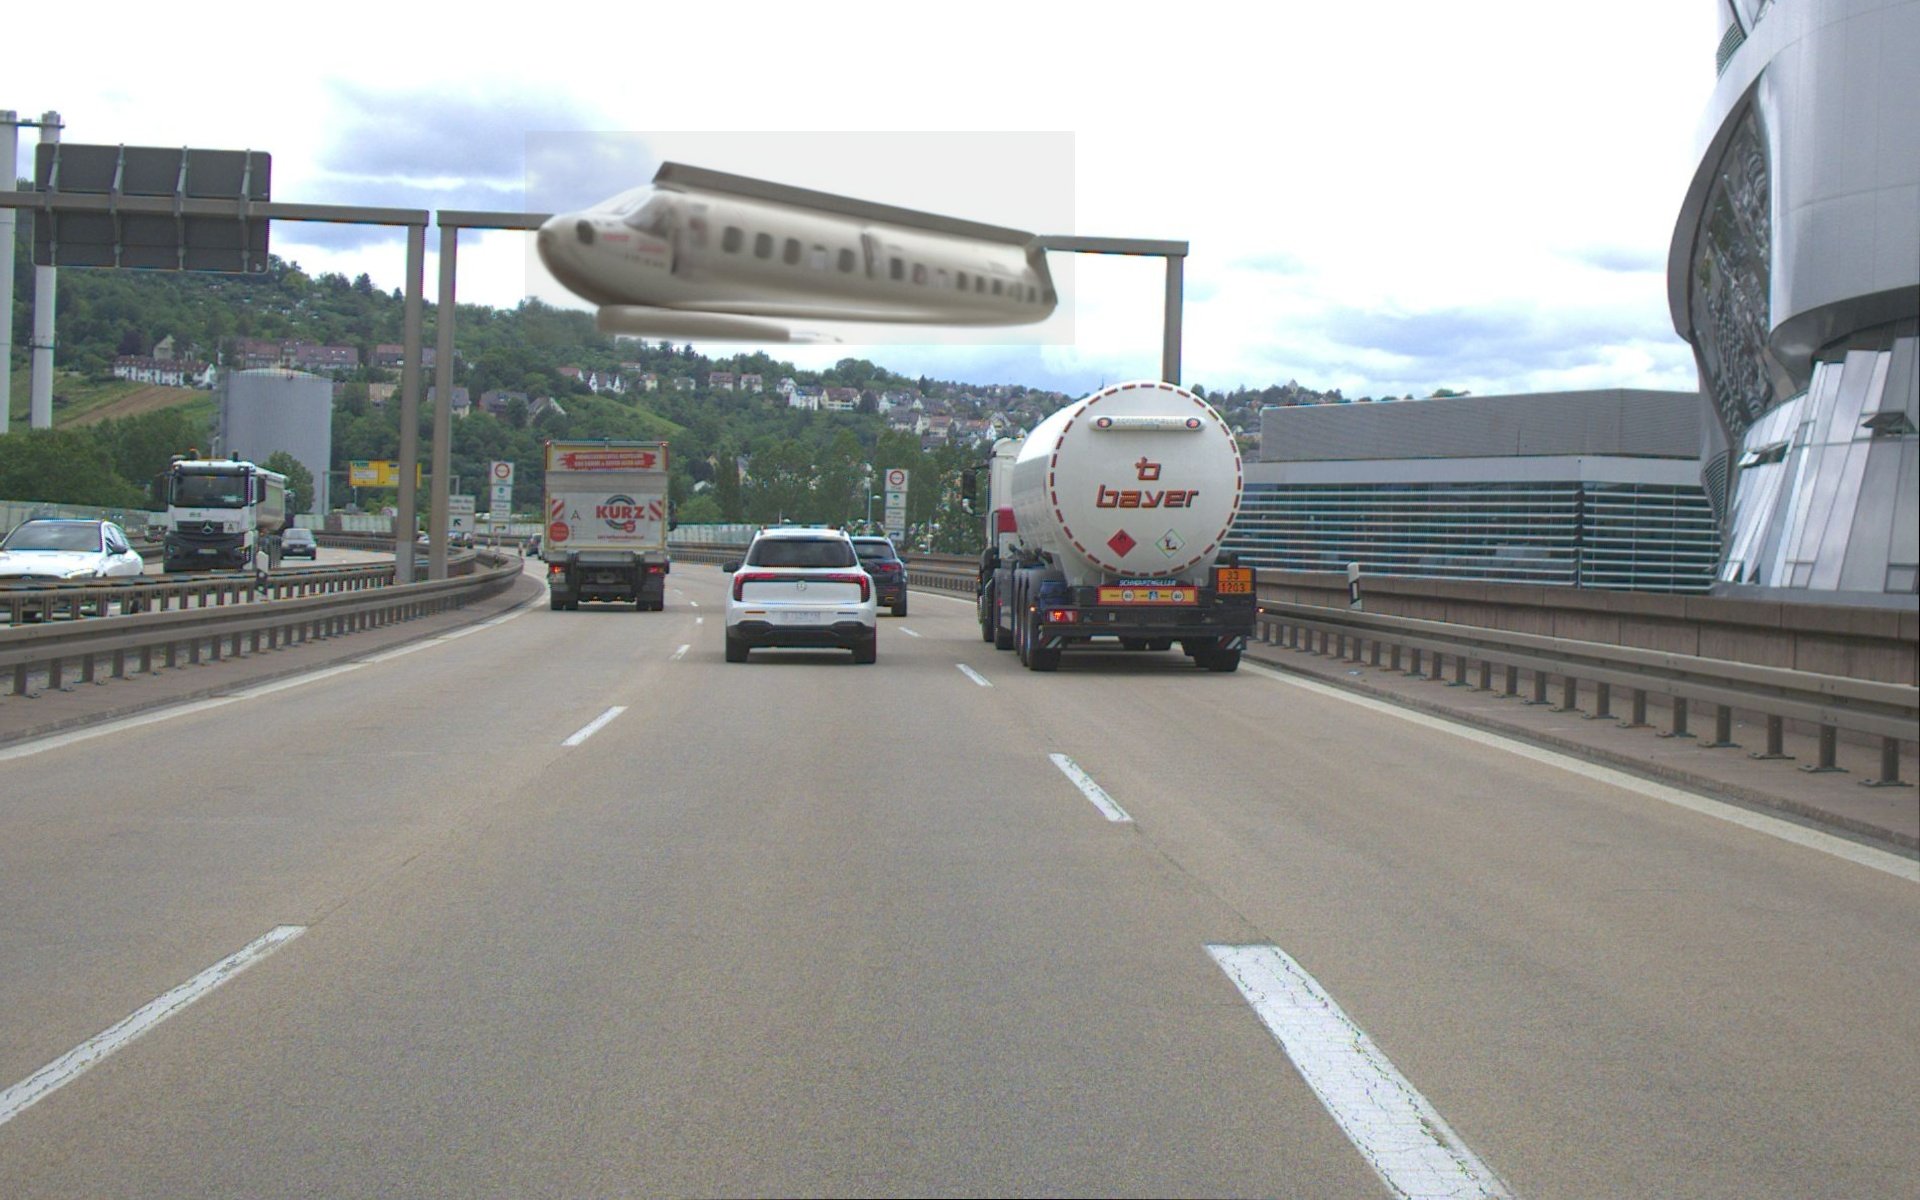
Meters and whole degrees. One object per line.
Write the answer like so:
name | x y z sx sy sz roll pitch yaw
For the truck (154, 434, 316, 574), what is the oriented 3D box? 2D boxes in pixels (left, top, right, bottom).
truck | -20.814 -2.666 99.443 3.056 3.763 12.521 1 0 -5

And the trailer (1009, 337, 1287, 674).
trailer | 2.192 -1.108 43.171 3.057 3.777 8.304 1 0 1

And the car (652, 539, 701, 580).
car | -11.916 -1.719 144.927 1.683 1.644 4.360 2 0 0

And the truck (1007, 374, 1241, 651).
truck | 2.219 -1.181 48.807 3.014 3.644 6.273 1 0 0

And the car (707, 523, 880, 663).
car | -2.056 -0.098 43.643 1.993 1.669 4.408 1 0 0

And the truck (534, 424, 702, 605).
truck | -7.356 -1.793 74.949 3.057 3.678 8.304 1 0 -2

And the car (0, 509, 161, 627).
car | -13.021 -0.462 49.844 1.993 1.601 4.808 1 0 -3

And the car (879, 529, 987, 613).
car | -0.592 -0.604 71.333 1.993 1.669 4.409 1 0 -4
